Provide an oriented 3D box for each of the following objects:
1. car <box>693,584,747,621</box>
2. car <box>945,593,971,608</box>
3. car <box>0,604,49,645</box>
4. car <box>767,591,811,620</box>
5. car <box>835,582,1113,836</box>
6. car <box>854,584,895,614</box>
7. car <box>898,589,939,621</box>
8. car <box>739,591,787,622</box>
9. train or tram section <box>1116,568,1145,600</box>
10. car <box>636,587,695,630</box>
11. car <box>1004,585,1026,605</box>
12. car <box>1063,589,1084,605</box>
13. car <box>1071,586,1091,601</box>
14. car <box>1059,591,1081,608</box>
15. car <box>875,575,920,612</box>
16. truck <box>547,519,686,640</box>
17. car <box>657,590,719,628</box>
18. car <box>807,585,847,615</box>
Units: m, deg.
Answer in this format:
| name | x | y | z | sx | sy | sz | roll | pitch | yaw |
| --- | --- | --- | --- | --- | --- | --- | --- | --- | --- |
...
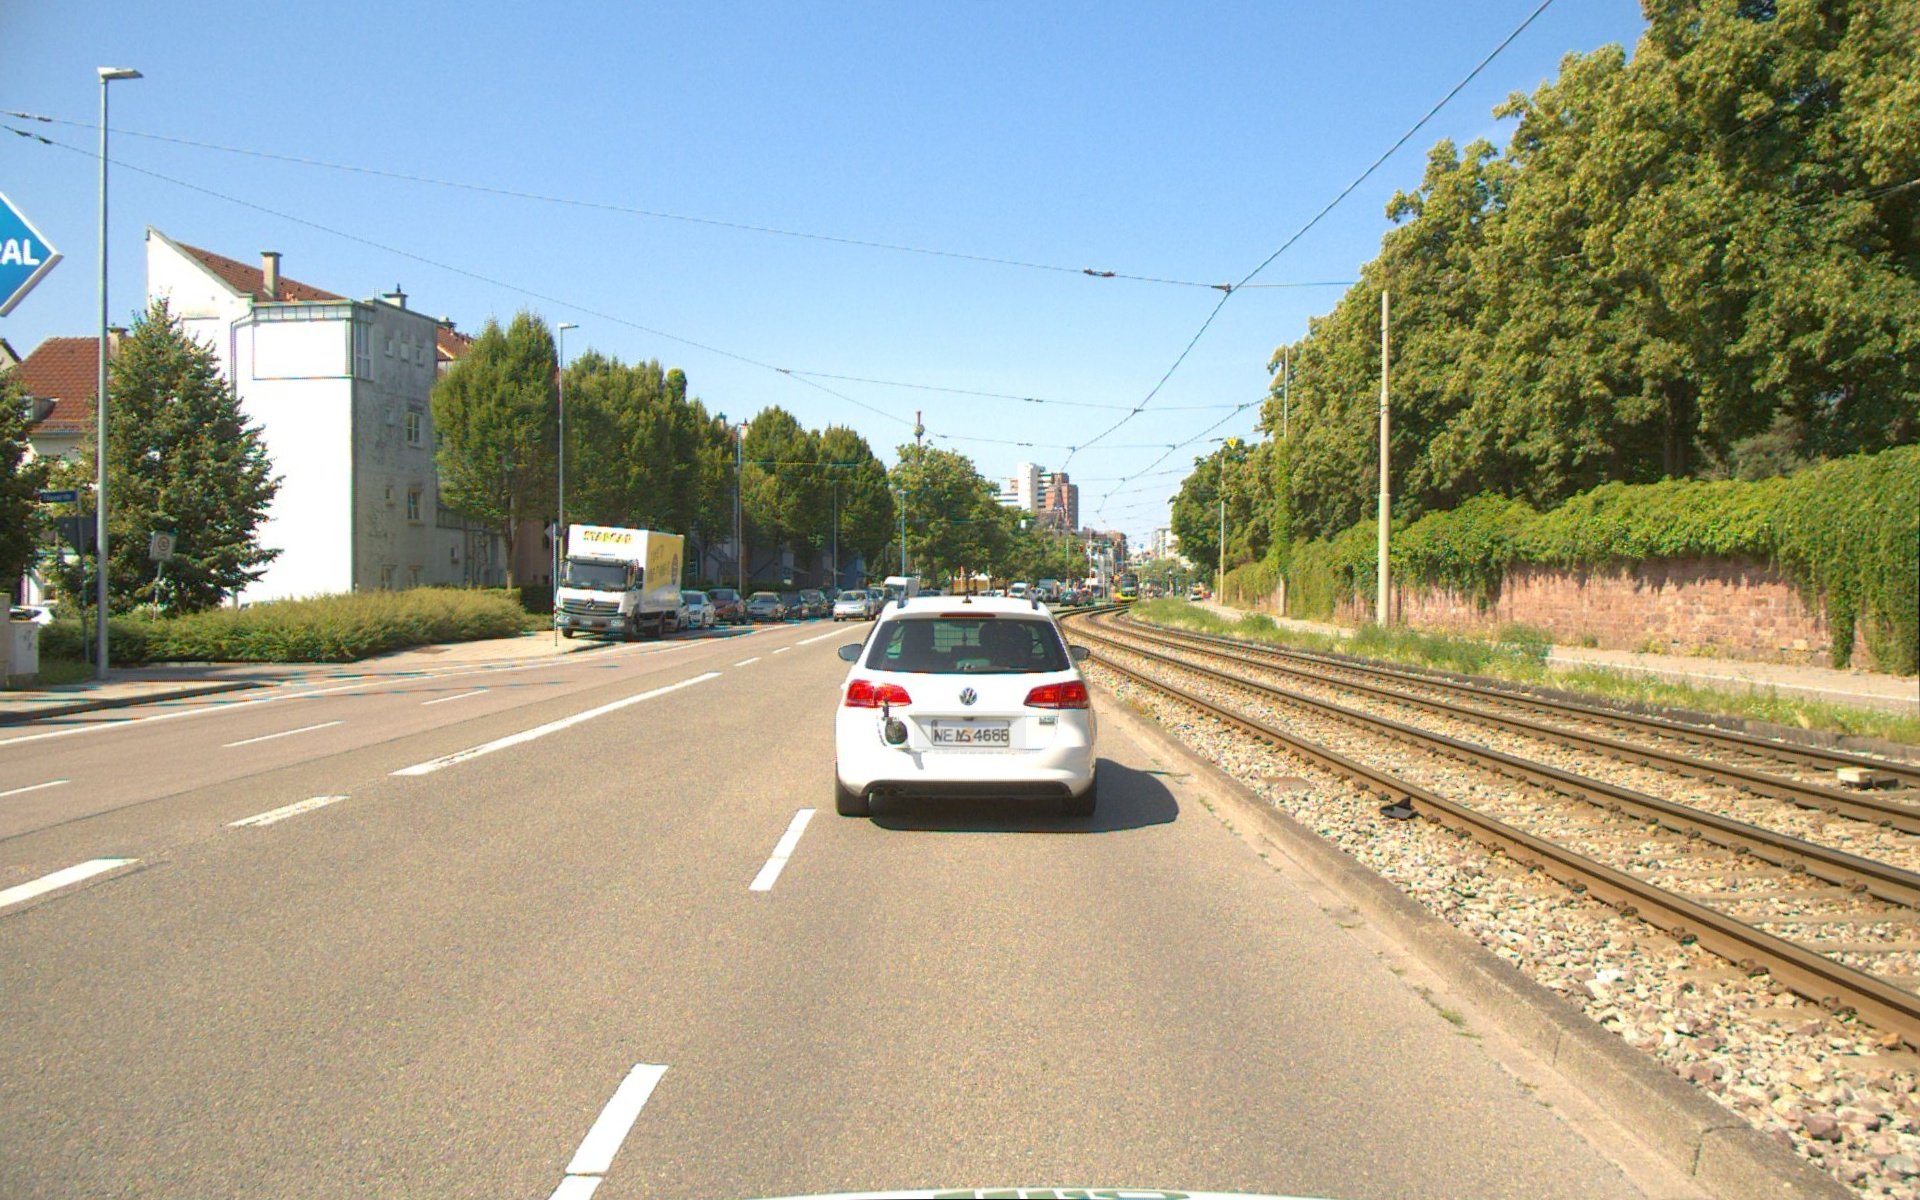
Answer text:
| name | x | y | z | sx | sy | sz | roll | pitch | yaw |
| --- | --- | --- | --- | --- | --- | --- | --- | --- | --- |
| car | -10.824 | 0.109 | 74.756 | 1.695 | 1.579 | 4.319 | 1 | 0 | 1 |
| car | -0.183 | 0.018 | 158.044 | 1.663 | 1.442 | 4.003 | 0 | 0 | 12 |
| car | -30.271 | 0.754 | 51.035 | 3.572 | 1.226 | 1.576 | 0 | 0 | 11 |
| car | -9.496 | 0.293 | 92.112 | 1.687 | 1.500 | 4.717 | 2 | 0 | 3 |
| car | 0.025 | 0.634 | 12.212 | 1.657 | 1.476 | 4.457 | 1 | 1 | -2 |
| car | -6.169 | -0.068 | 119.757 | 1.879 | 1.982 | 5.358 | 3 | 0 | 8 |
| car | -2.141 | 0.240 | 86.521 | 1.763 | 1.533 | 4.003 | 1 | 1 | 4 |
| car | -10.146 | 0.324 | 85.593 | 1.743 | 1.509 | 4.858 | 1 | 0 | 2 |
| train or tram section | 21.015 | -1.916 | 203.025 | 2.457 | 3.812 | 13.322 | 0 | 0 | 10 |
| car | -11.007 | 0.285 | 61.913 | 1.577 | 1.509 | 3.635 | 2 | 0 | -1 |
| car | 6.850 | -0.566 | 204.708 | 1.840 | 2.458 | 5.120 | 0 | 0 | 12 |
| car | 11.078 | -0.326 | 161.211 | 1.762 | 1.485 | 4.003 | 1 | 1 | 8 |
| car | 12.273 | -0.628 | 168.029 | 1.762 | 1.486 | 4.003 | 0 | 0 | 8 |
| car | 10.334 | -0.053 | 154.659 | 1.762 | 1.533 | 4.003 | 1 | 1 | 8 |
| car | -4.774 | -0.489 | 128.050 | 1.952 | 2.761 | 7.163 | 3 | 0 | 10 |
| truck | -11.149 | -0.659 | 54.618 | 2.612 | 3.591 | 8.591 | 2 | 0 | 1 |
| car | -10.941 | 0.331 | 66.716 | 1.721 | 1.454 | 4.282 | 1 | 0 | 1 |
| car | -8.310 | -0.013 | 103.587 | 1.732 | 1.753 | 4.872 | 2 | 0 | 4 |
